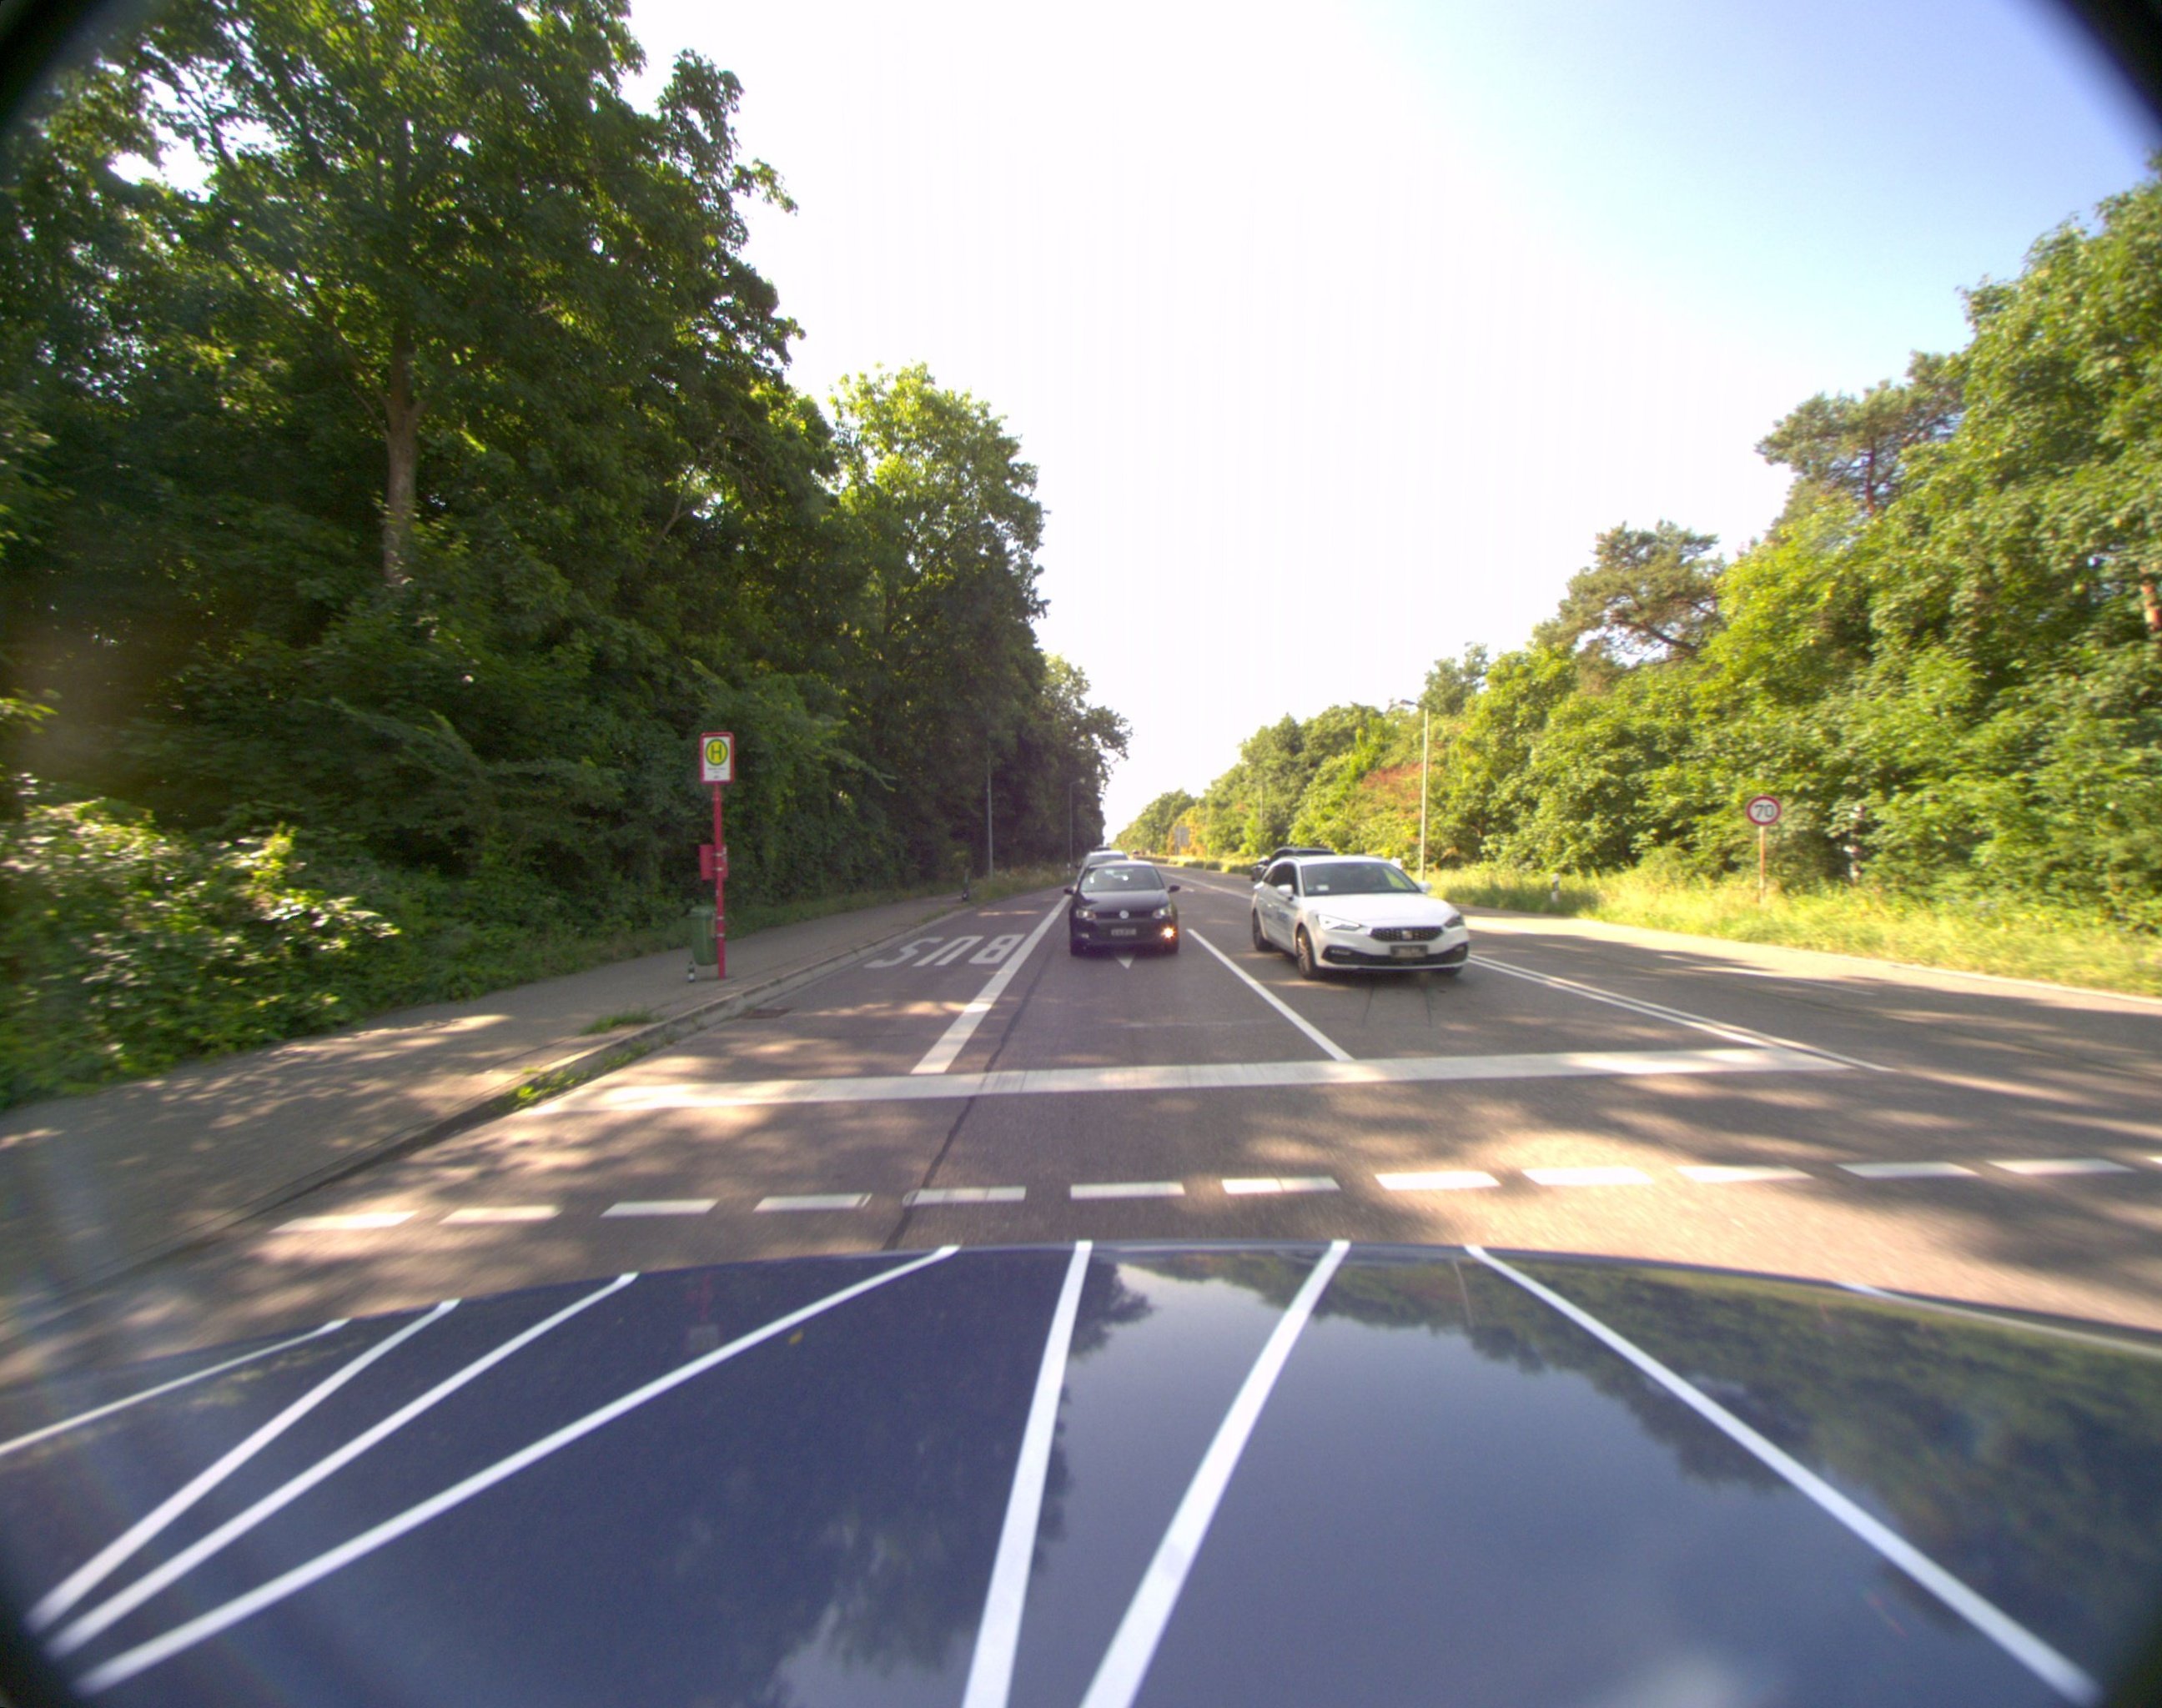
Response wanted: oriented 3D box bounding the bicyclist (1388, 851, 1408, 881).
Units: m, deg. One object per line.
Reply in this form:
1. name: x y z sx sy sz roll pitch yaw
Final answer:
1. bicyclist: 15.753 0.600 37.829 0.612 1.458 0.944 -2 1 3

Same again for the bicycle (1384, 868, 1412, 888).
1. bicycle: 15.772 1.187 37.854 0.605 0.909 2.139 0 0 3

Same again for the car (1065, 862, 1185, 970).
1. car: 0.863 0.918 12.813 1.649 1.422 4.057 -2 0 7

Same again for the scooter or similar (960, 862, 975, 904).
1. scooter or similar: -3.724 0.938 24.887 0.401 1.299 1.328 0 1 -13

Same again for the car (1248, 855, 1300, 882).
1. car: 10.687 0.756 42.410 1.707 1.424 4.461 1 0 0

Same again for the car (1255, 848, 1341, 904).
1. car: 7.337 0.673 26.107 1.795 1.687 4.391 1 1 2

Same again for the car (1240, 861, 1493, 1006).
1. car: 3.427 0.846 10.100 1.788 1.416 4.423 -2 0 2

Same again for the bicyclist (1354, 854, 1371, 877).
1. bicyclist: 15.911 0.621 42.950 0.702 1.256 0.727 -2 1 3

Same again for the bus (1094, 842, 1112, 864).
1. bus: 3.667 -0.211 126.454 2.782 3.437 7.793 -2 1 1

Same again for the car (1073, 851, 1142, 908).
1. car: 0.931 0.739 24.437 1.812 1.639 4.309 -2 0 7
